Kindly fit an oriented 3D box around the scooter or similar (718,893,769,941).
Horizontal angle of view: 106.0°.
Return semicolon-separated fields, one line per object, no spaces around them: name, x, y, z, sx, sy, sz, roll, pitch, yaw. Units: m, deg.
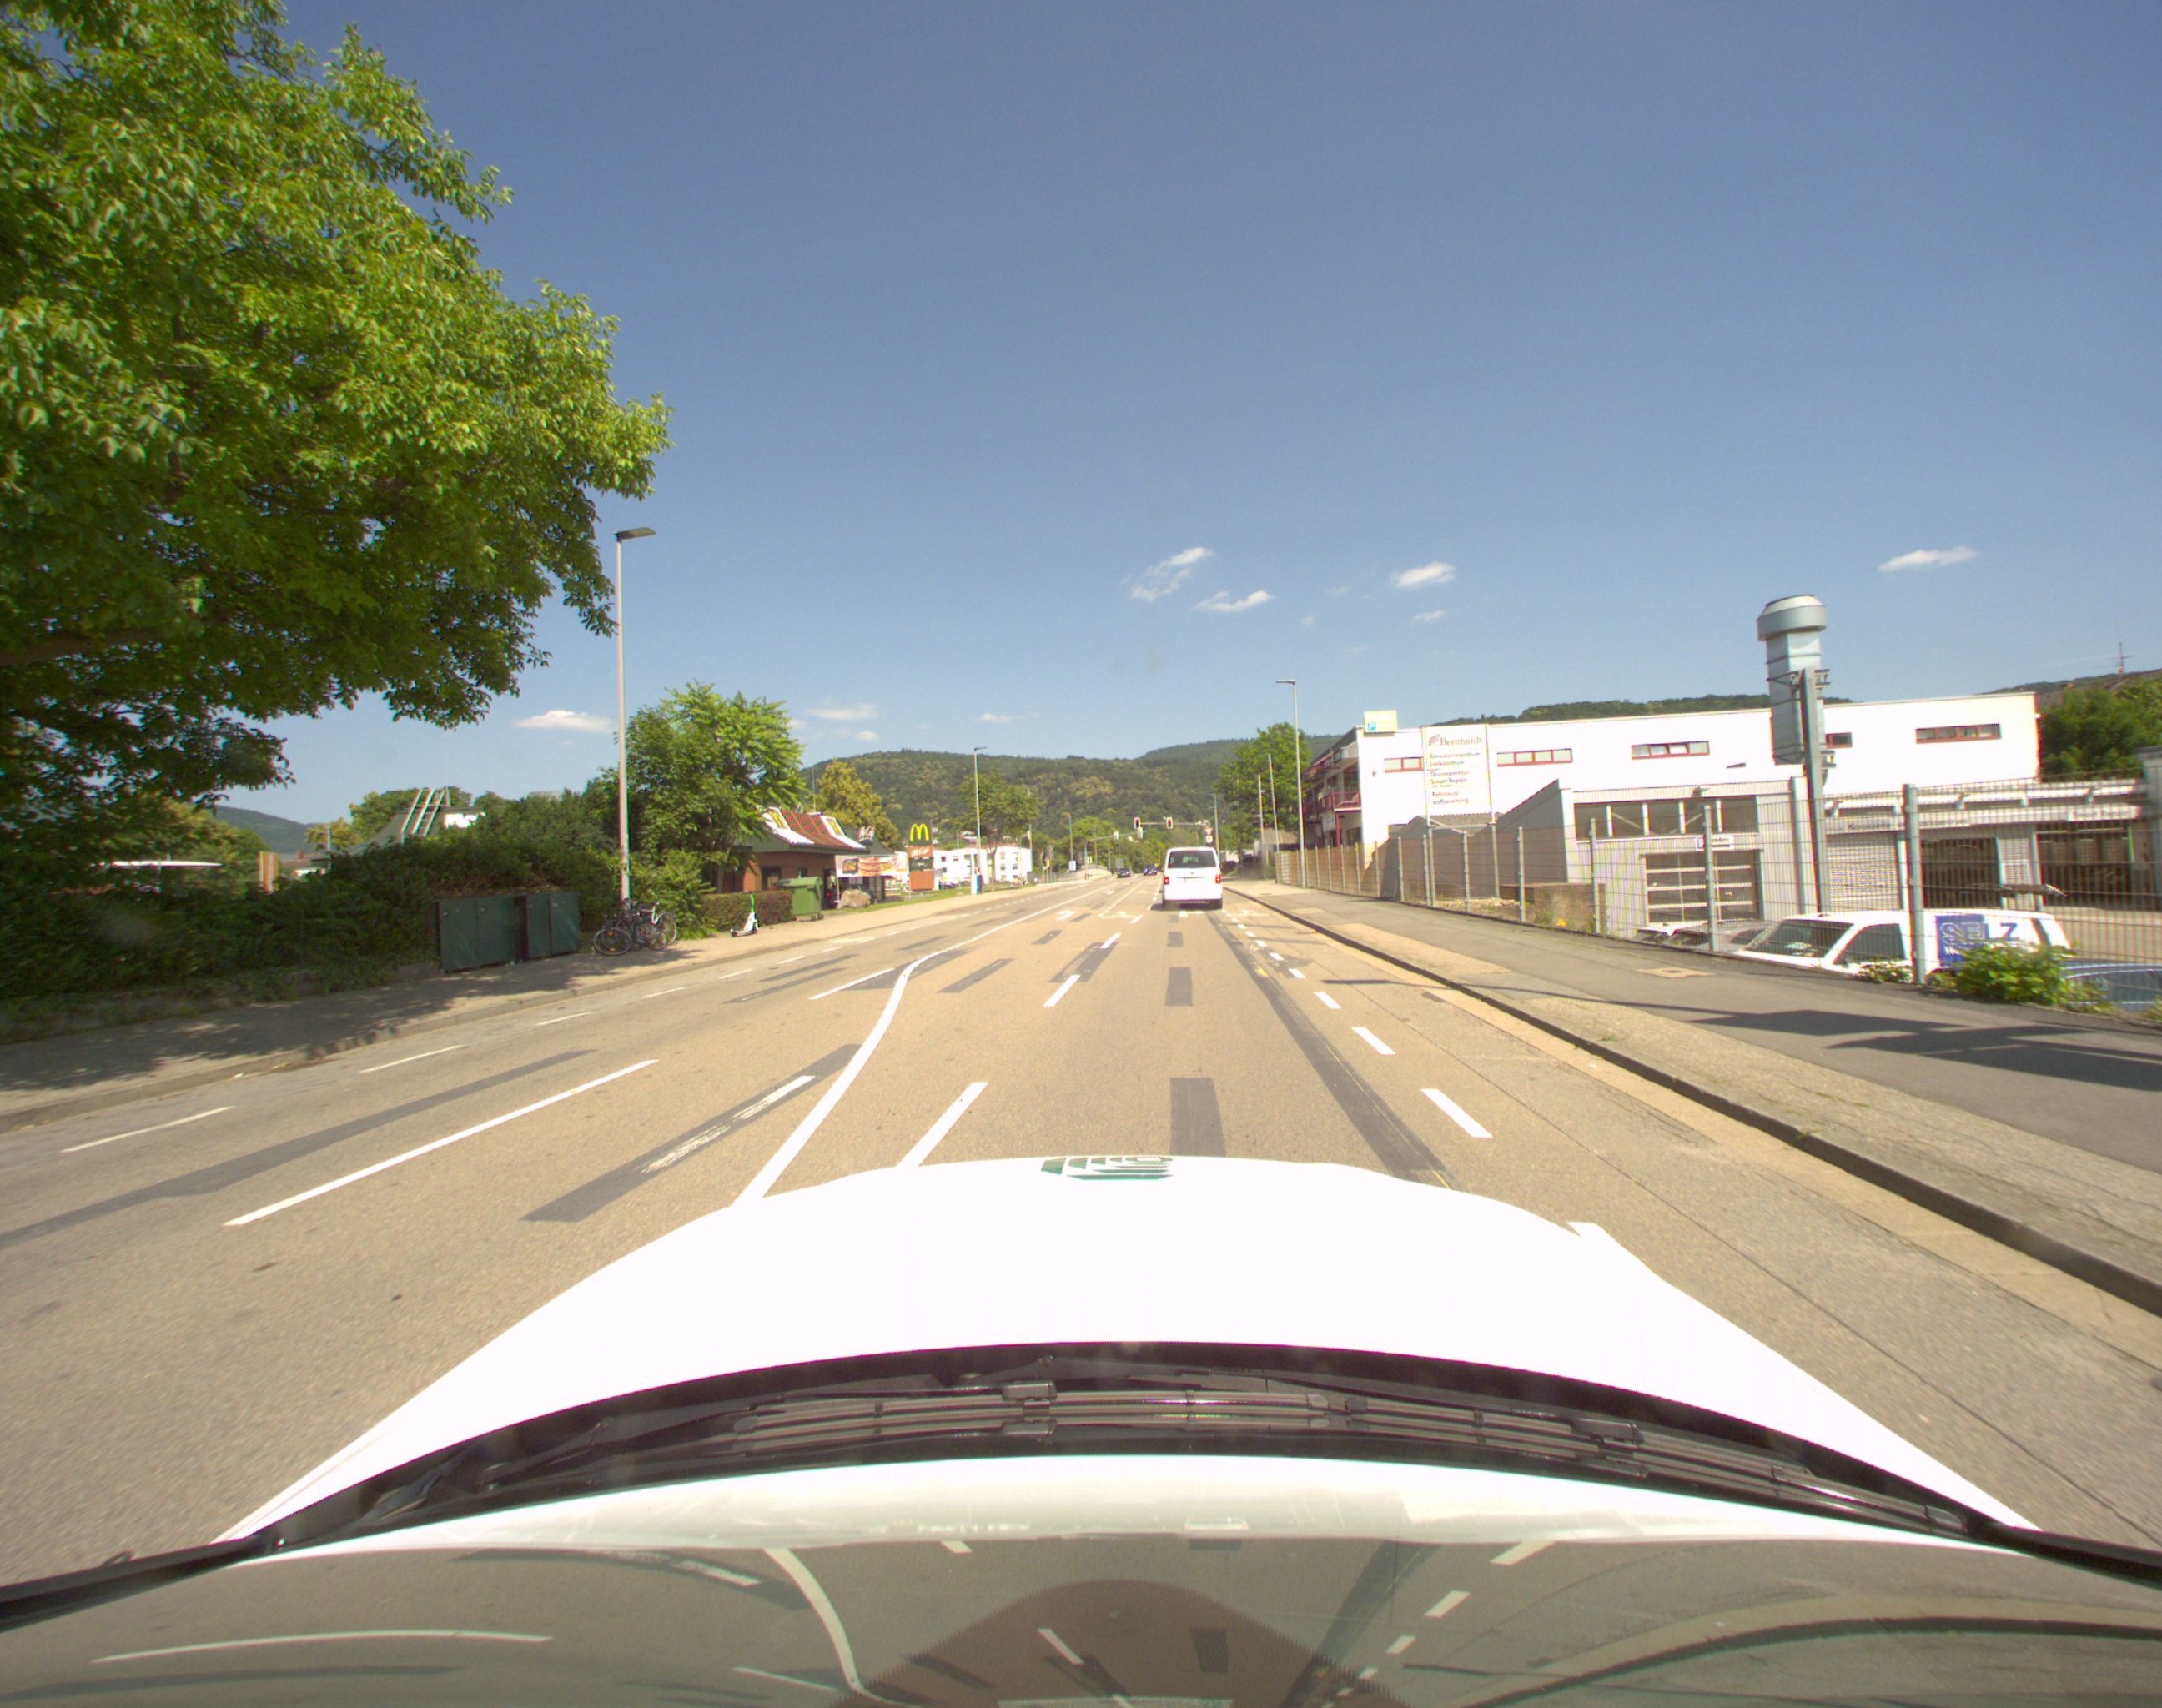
scooter or similar;-8.720;1.612;21.095;0.645;1.127;1.622;0;0;0

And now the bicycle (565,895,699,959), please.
bicycle;-9.452;1.499;17.334;1.021;1.118;2.772;0;0;8

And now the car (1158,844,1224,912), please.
car;3.579;0.756;27.223;1.925;2.059;4.550;-1;0;5

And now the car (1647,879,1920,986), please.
car;14.334;1.551;16.832;3.968;2.014;1.854;0;0;4

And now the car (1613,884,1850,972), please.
car;15.299;1.687;19.423;3.958;1.830;2.008;0;0;14

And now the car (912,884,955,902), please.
car;-15.756;4.105;86.996;4.313;1.592;1.994;-3;-1;-8

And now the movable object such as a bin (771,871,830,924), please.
movable object such as a bin;-9.228;1.416;26.847;1.445;1.590;1.306;-3;0;-3

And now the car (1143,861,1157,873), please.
car;9.864;1.885;116.573;1.840;1.588;4.007;-3;-1;6

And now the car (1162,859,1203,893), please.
car;5.336;1.126;43.377;1.925;1.686;4.550;-1;-1;5

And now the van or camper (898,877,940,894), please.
van or camper;-16.238;3.146;81.640;3.990;1.574;1.992;0;0;-12

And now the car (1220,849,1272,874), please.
car;13.492;0.599;66.586;3.960;1.775;2.007;-3;-1;12

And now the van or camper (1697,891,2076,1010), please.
van or camper;13.285;1.549;13.675;4.297;1.651;2.021;-2;-1;1

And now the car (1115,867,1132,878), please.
car;5.836;2.522;112.650;1.983;1.370;4.335;-3;-1;7

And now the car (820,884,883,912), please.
car;-13.115;2.488;46.858;1.982;1.416;4.138;-1;0;8
